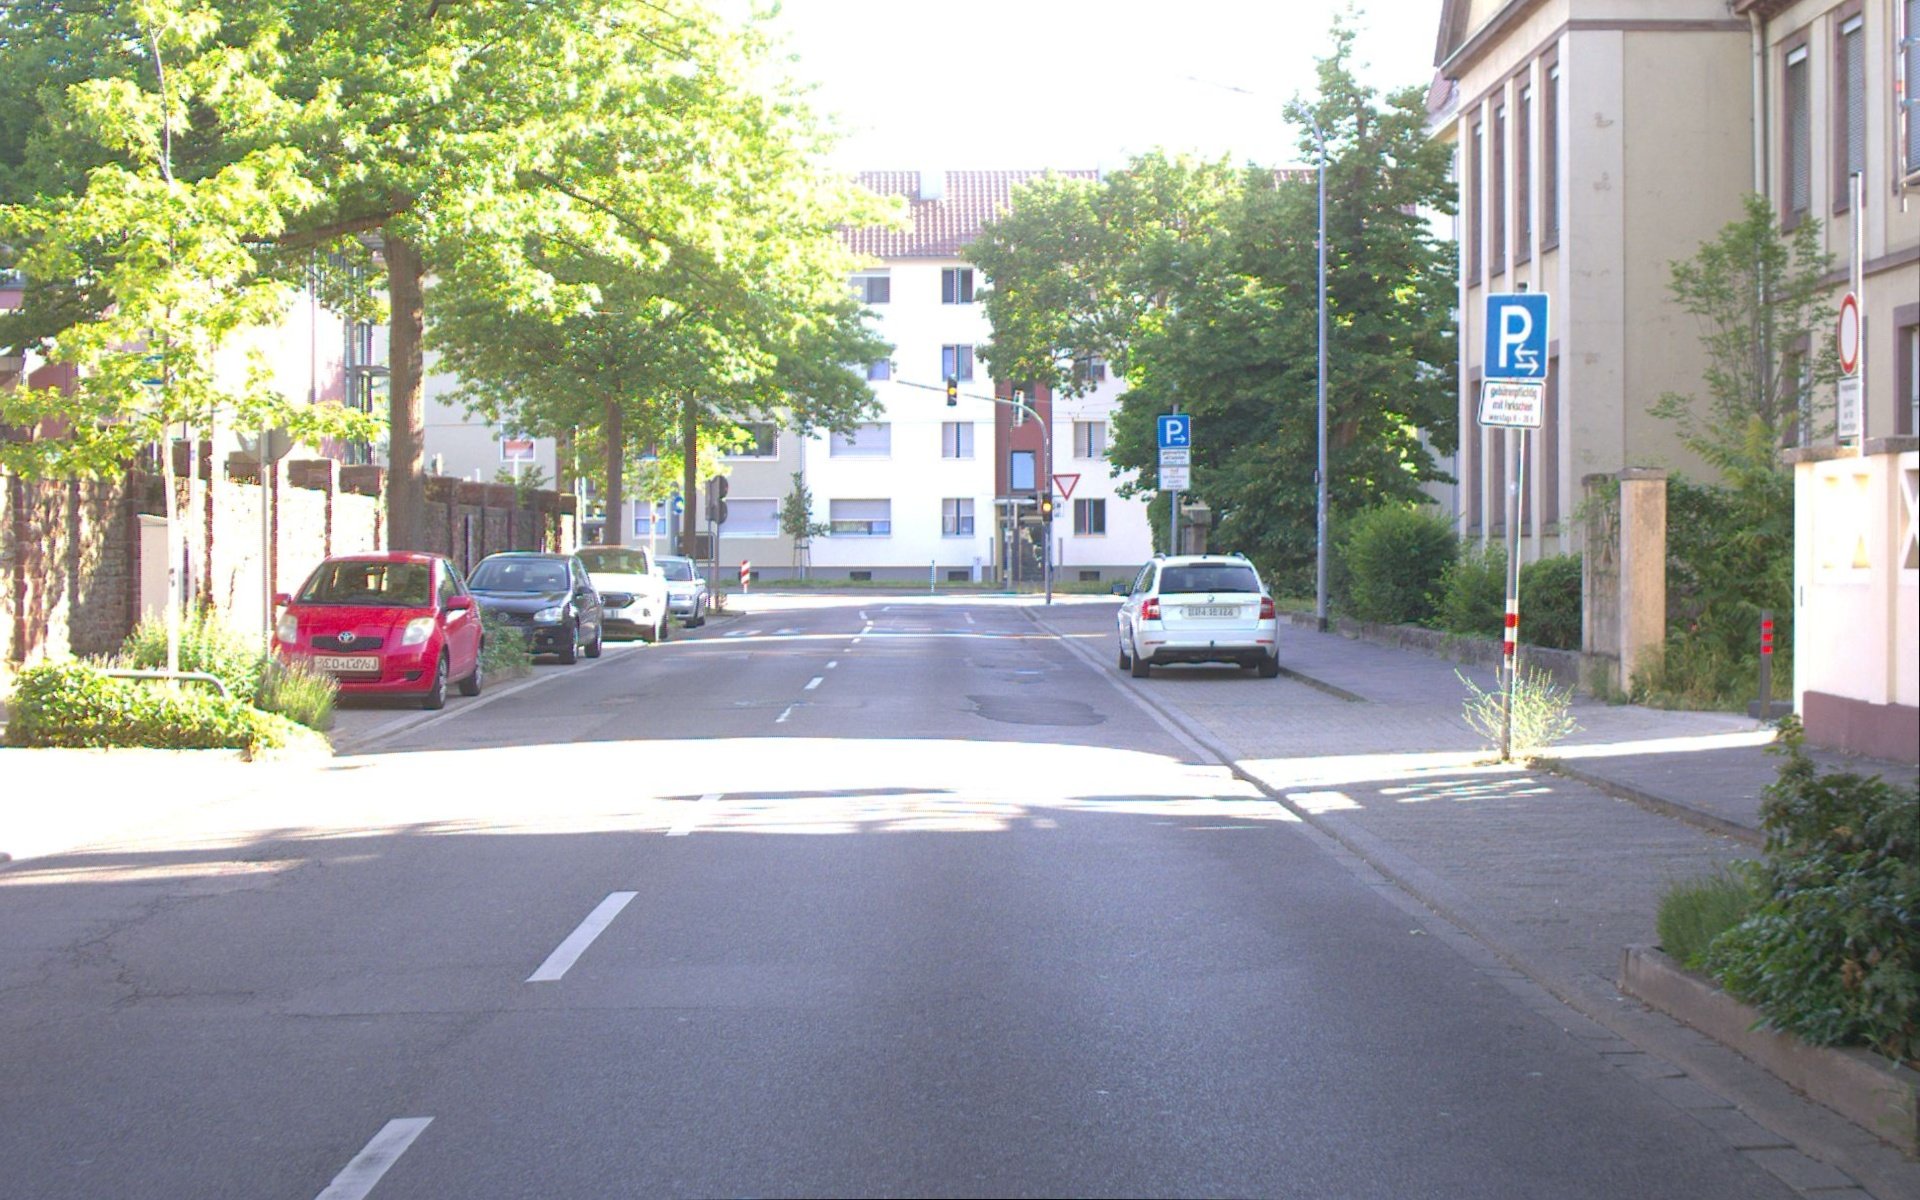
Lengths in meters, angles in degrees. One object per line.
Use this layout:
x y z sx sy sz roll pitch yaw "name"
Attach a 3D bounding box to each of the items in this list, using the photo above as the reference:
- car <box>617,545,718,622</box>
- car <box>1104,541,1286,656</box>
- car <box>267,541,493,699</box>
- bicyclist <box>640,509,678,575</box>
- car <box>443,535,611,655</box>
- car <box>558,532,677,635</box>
-6.005 -0.366 70.962 1.726 1.470 4.478 2 1 -1 "car"
2.824 -0.056 42.204 1.832 1.318 4.496 -1 1 -1 "car"
-5.753 0.159 34.468 1.609 1.454 3.708 2 1 0 "car"
-8.038 -1.553 91.872 0.787 1.751 0.612 0 1 -41 "bicyclist"
-5.953 -0.104 47.641 1.737 1.587 4.107 0 1 1 "car"
-5.782 -0.313 58.446 1.720 1.678 4.351 0 1 -2 "car"
